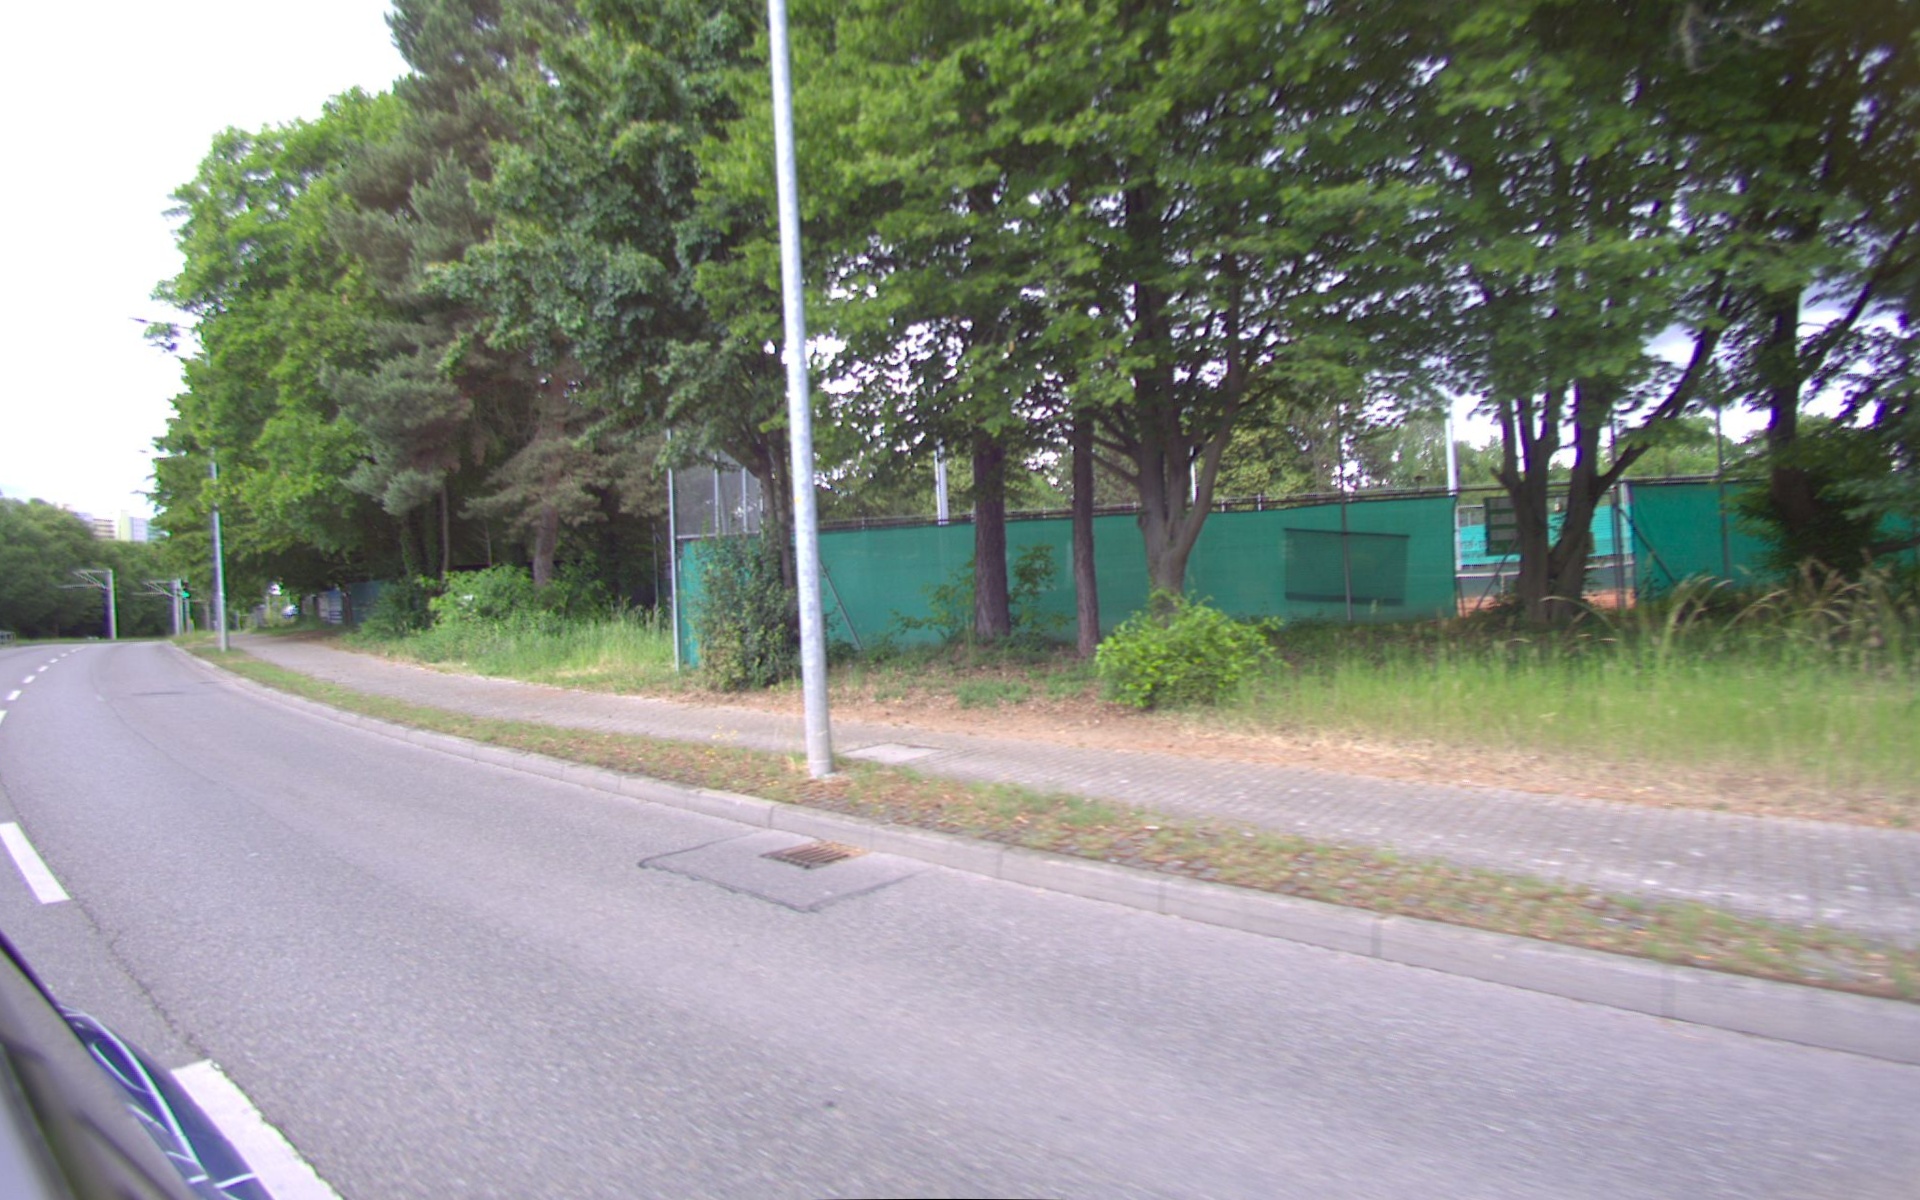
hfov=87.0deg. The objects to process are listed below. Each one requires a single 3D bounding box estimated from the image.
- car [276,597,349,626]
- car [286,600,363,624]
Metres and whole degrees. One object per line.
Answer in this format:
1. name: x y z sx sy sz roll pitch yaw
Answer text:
1. car: -55.254 0.981 86.461 5.085 2.122 2.221 -4 0 -30
2. car: -50.778 0.936 80.979 5.085 1.573 1.891 -4 0 -30
